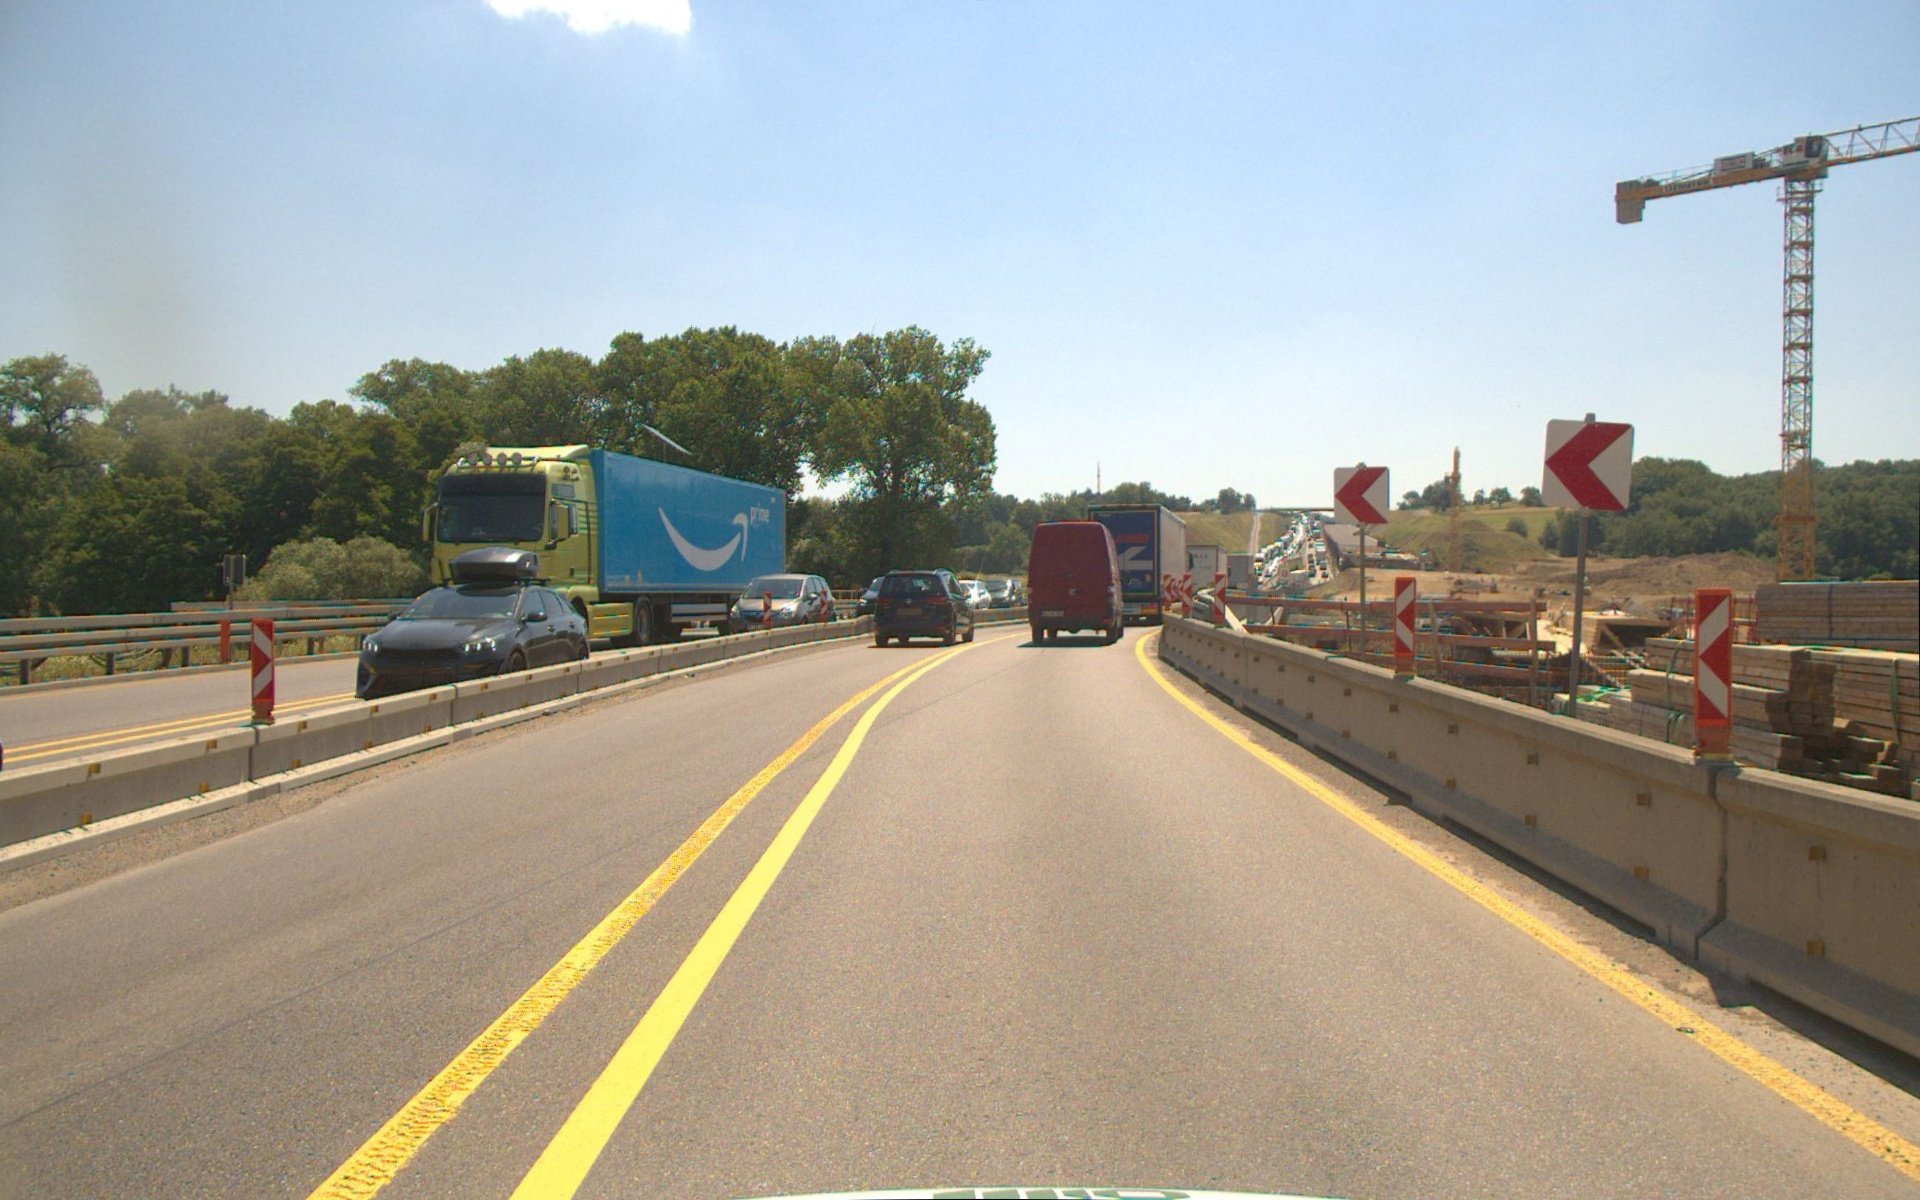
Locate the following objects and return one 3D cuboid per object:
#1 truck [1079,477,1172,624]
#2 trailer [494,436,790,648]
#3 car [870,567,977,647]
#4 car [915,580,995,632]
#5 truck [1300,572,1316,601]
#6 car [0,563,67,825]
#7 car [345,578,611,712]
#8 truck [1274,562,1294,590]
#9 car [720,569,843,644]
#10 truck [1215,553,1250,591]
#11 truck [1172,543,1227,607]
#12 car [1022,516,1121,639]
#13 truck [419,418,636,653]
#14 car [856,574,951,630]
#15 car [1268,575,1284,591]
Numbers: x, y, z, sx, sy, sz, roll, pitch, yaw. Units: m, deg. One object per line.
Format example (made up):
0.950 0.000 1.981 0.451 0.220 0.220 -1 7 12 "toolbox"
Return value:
6.155 -1.718 60.527 2.882 5.032 6.747 0 0 10 "truck"
-7.308 -1.180 40.966 2.591 4.368 13.319 1 0 10 "trailer"
-0.768 0.108 37.632 1.697 1.663 4.394 0 2 9 "car"
-0.129 0.161 59.575 1.782 1.675 4.574 1 2 15 "car"
50.384 -1.949 239.644 2.242 3.805 6.486 0 -3 11 "truck"
-6.342 0.574 8.270 1.603 1.511 4.000 0 1 -1 "car"
-5.836 0.470 20.649 1.782 1.460 4.585 0 1 3 "car"
38.174 -2.798 194.924 2.242 3.252 6.488 0 0 10 "truck"
-4.101 0.170 38.671 1.781 1.612 4.304 1 0 9 "car"
26.571 -2.706 161.076 3.115 3.030 8.905 0 -3 11 "truck"
15.572 -1.579 107.225 3.114 4.059 6.747 0 0 12 "truck"
2.620 -0.443 38.691 2.105 2.657 5.441 1 -1 4 "car"
-8.565 -1.207 33.314 2.569 4.345 4.735 1 0 7 "truck"
-1.737 0.027 52.397 1.841 1.676 4.719 1 1 13 "car"
33.464 -1.791 175.107 1.583 1.729 3.893 1 0 11 "car"
